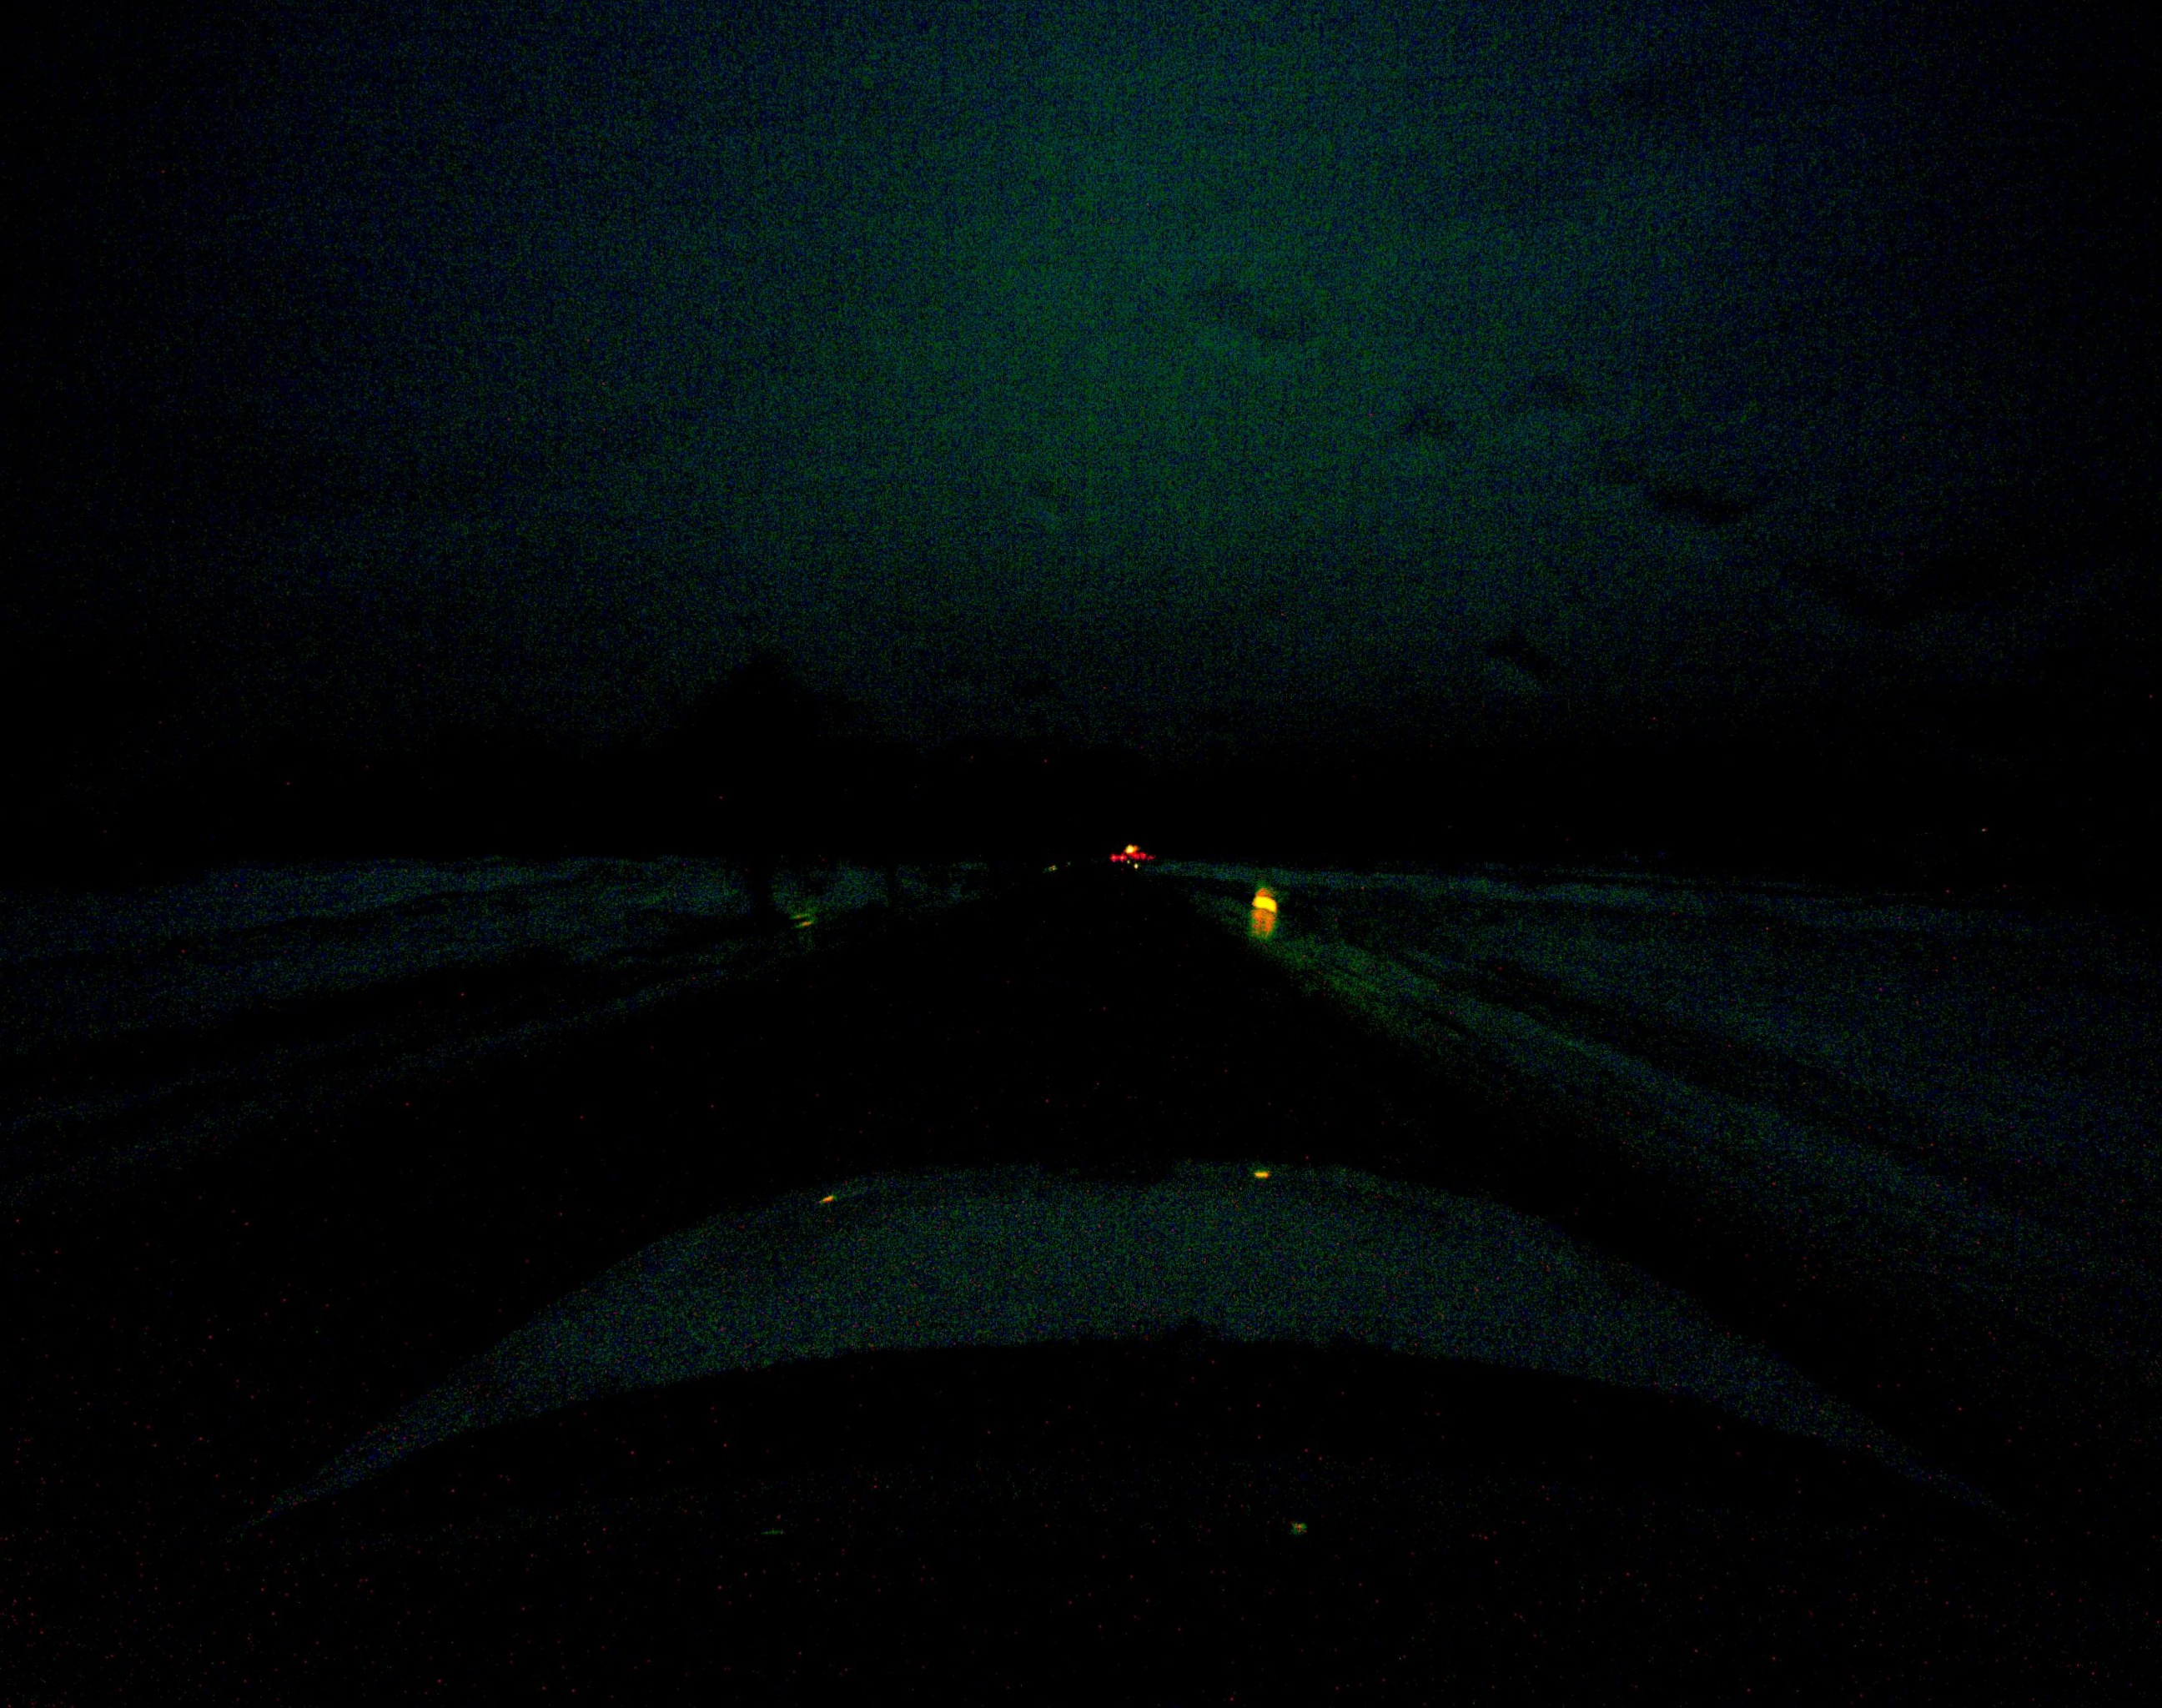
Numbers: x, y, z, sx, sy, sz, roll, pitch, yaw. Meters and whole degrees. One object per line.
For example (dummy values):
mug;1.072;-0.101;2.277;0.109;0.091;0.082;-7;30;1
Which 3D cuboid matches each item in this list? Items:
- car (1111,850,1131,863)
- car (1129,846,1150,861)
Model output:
car;6.307;0.419;127.832;1.977;2.052;4.020;1;0;20
car;10.999;-0.158;153.457;2.232;2.645;5.035;-1;1;25
